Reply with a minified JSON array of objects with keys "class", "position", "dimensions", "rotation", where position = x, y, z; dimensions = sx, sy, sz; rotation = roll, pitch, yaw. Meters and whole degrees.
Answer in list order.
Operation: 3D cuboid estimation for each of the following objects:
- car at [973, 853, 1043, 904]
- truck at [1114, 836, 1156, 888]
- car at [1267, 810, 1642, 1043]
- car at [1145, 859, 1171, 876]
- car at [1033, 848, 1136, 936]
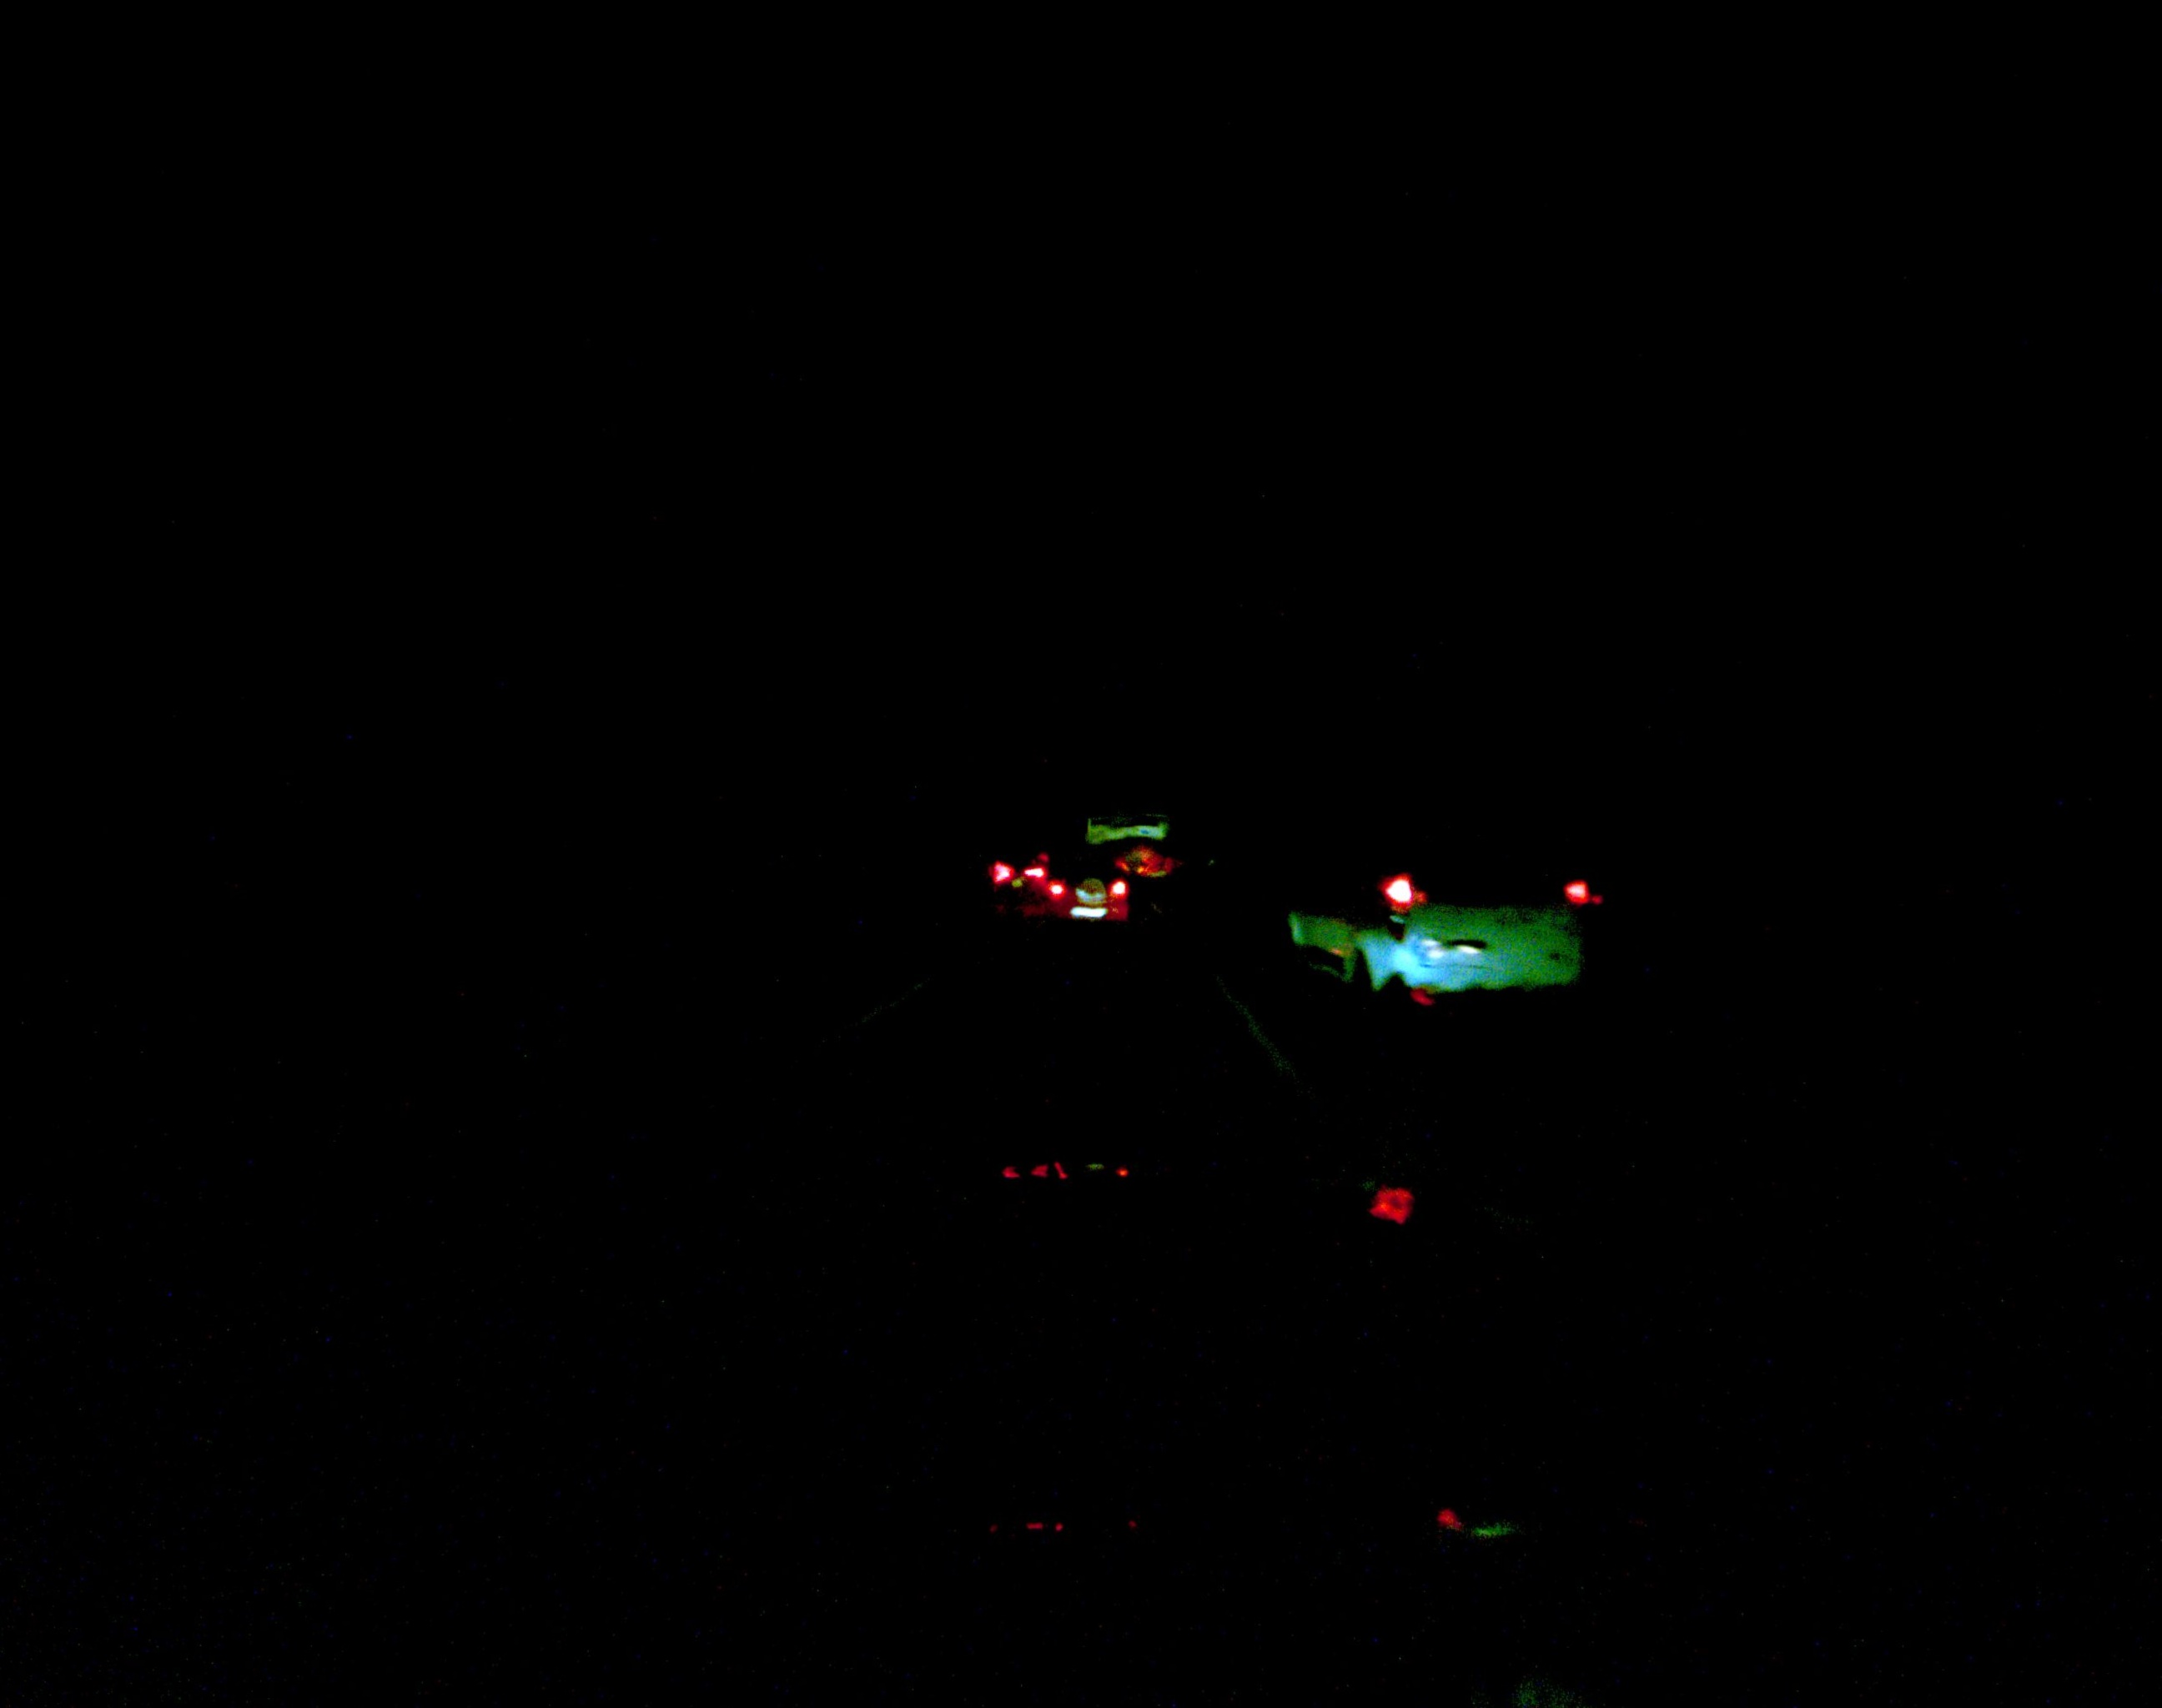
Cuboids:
[{"class":"car","position":[-2.810,0.935,32.436],"dimensions":[1.985,1.777,4.890],"rotation":[-4,-1,3]},{"class":"truck","position":[6.233,0.961,96.587],"dimensions":[4.152,5.544,13.079],"rotation":[-4,-1,2]},{"class":"car","position":[3.490,0.594,8.916],"dimensions":[1.945,1.792,5.127],"rotation":[-1,-1,3]},{"class":"car","position":[6.520,1.124,69.234],"dimensions":[1.883,1.354,4.001],"rotation":[0,0,1]},{"class":"car","position":[0.152,0.777,17.966],"dimensions":[1.908,1.594,4.235],"rotation":[-4,-1,2]}]
